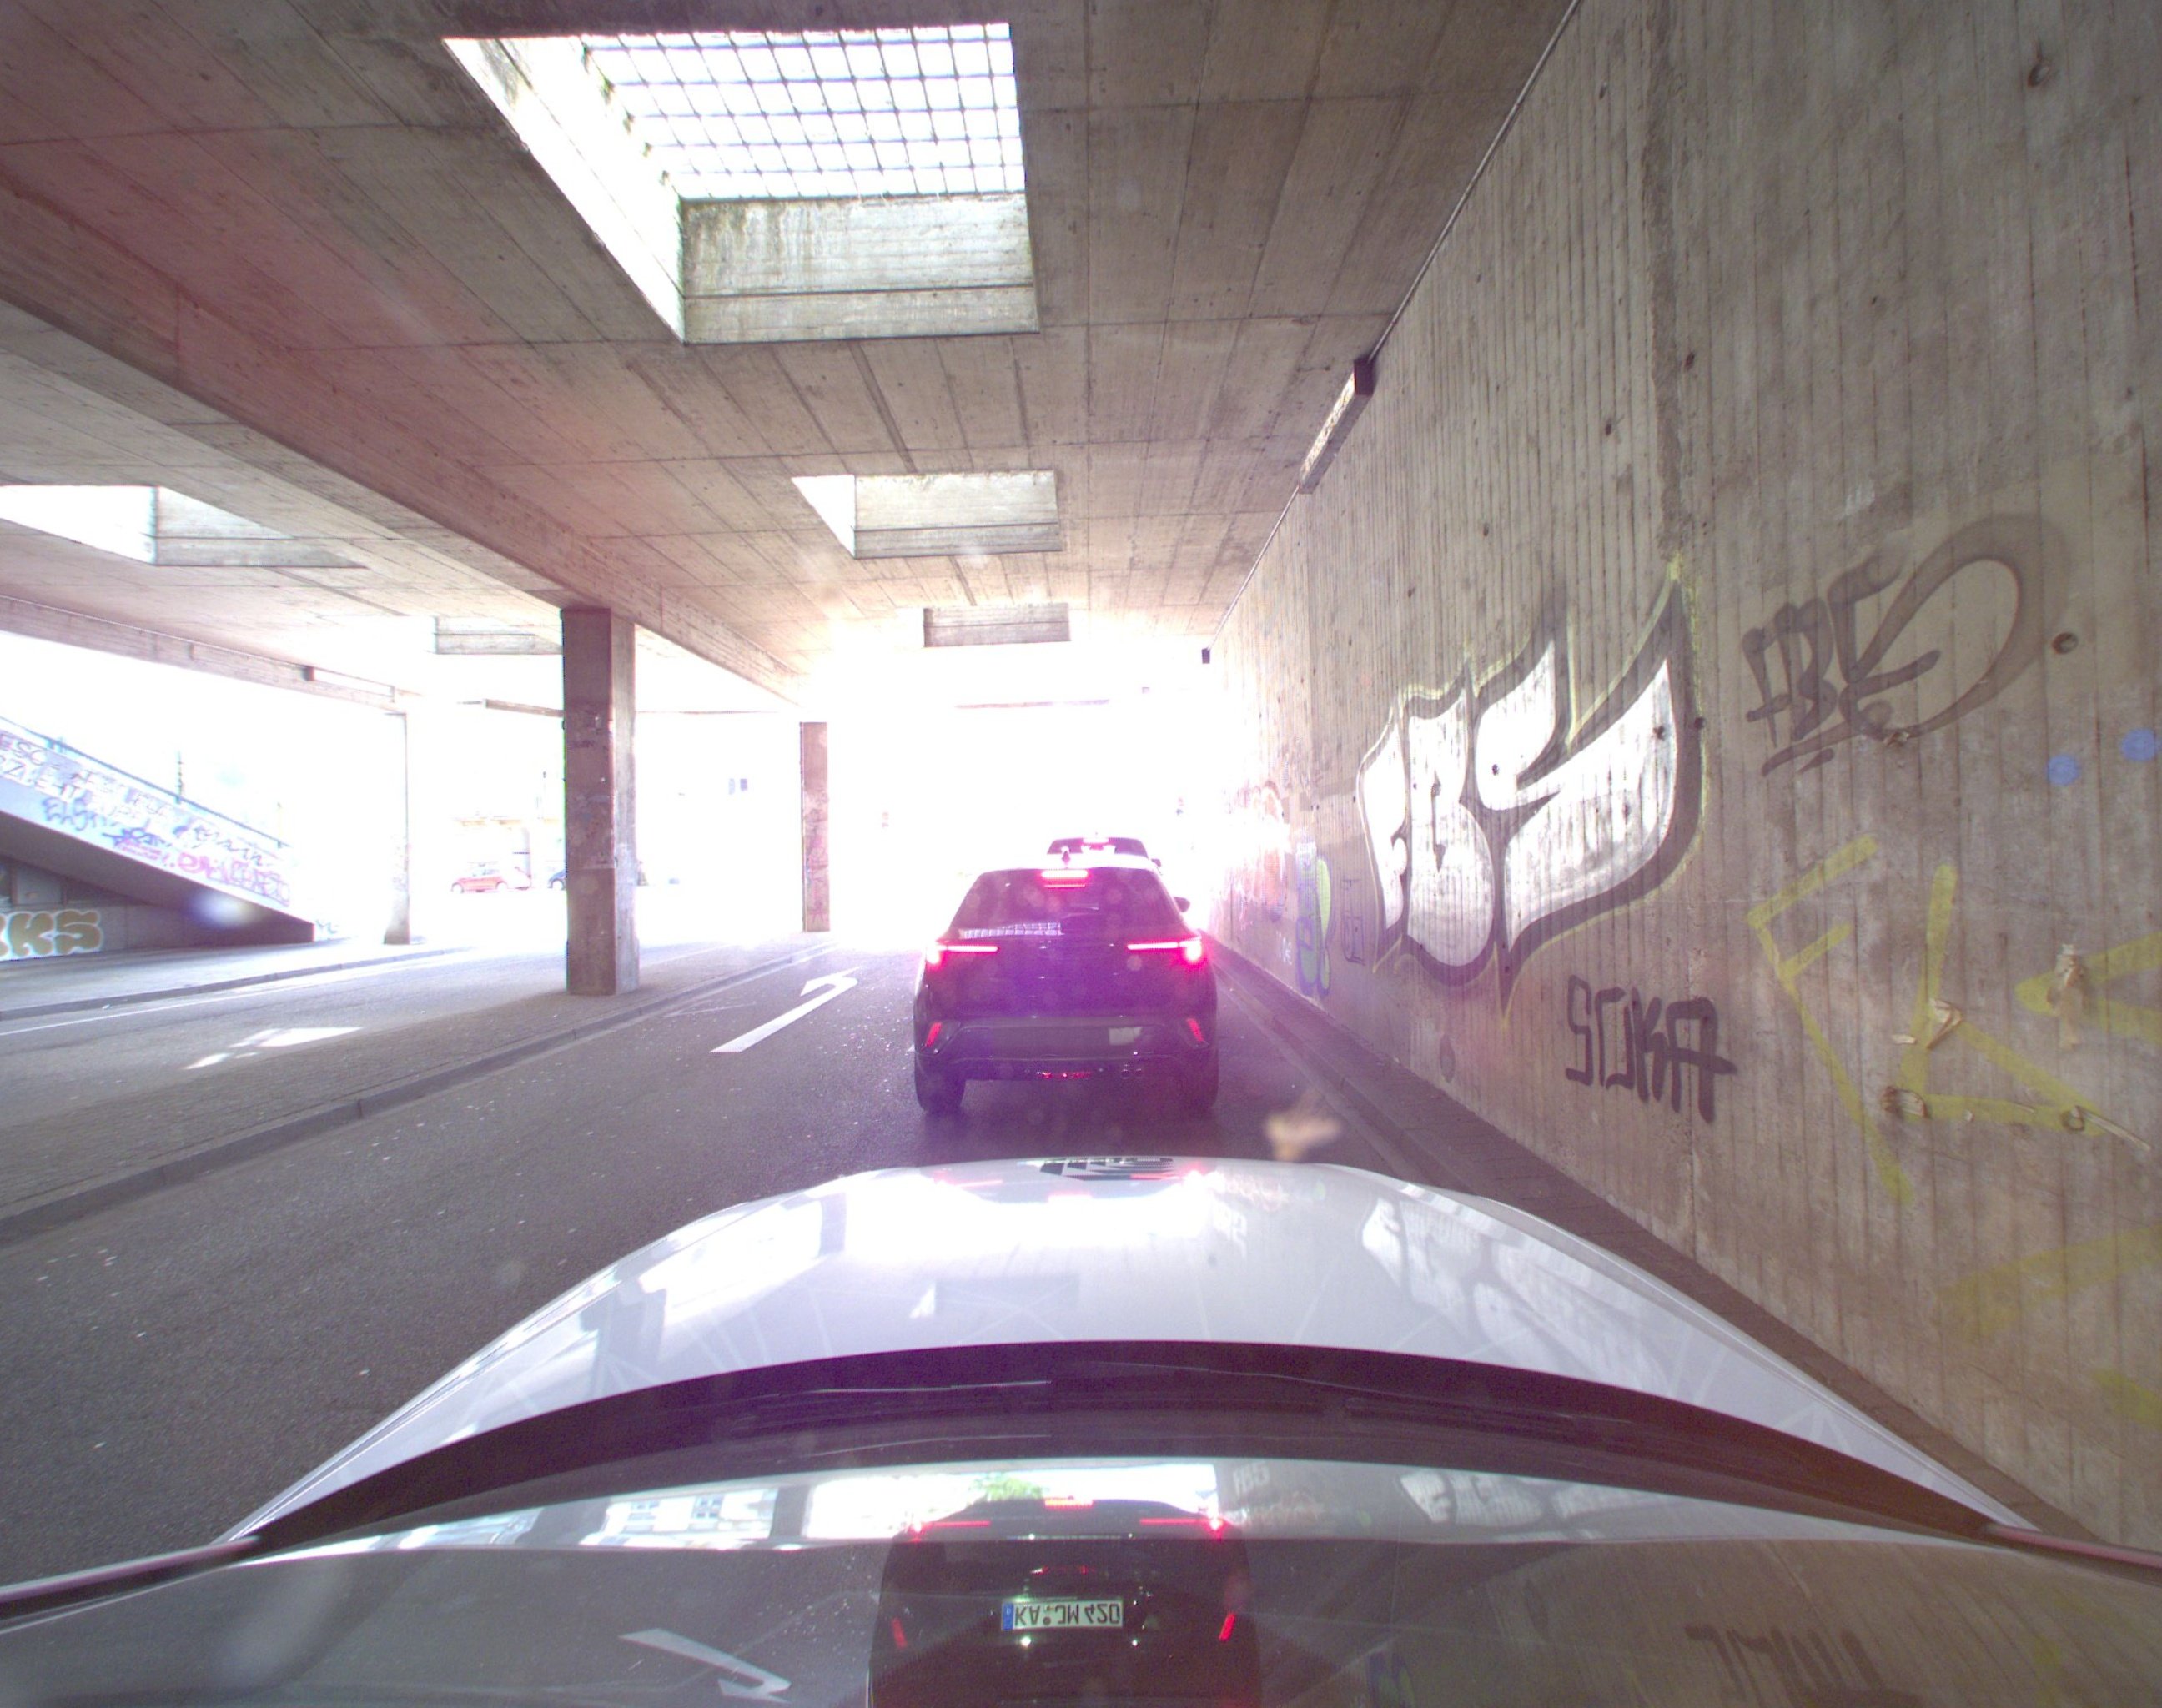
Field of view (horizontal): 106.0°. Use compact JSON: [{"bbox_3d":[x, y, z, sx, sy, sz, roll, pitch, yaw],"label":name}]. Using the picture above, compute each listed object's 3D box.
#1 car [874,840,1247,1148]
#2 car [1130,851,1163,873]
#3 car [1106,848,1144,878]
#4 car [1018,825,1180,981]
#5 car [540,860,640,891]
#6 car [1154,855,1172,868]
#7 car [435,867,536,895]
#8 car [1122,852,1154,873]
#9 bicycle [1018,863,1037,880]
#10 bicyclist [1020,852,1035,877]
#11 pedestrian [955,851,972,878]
[{"bbox_3d":[-0.045,0.720,6.179,1.875,1.538,3.966,-2,0,2],"label":"car"},{"bbox_3d":[5.585,0.692,69.029,2.206,1.719,4.474,-2,-2,12],"label":"car"},{"bbox_3d":[2.407,0.508,44.258,1.959,1.497,3.900,-2,-2,4],"label":"car"},{"bbox_3d":[0.287,0.602,12.000,1.938,1.860,3.966,-2,0,2],"label":"car"},{"bbox_3d":[-27.209,1.188,45.229,4.114,1.550,2.268,-2,0,1],"label":"car"},{"bbox_3d":[10.572,0.974,104.598,1.981,1.662,4.012,-1,-1,11],"label":"car"},{"bbox_3d":[-33.013,1.478,45.228,3.970,1.374,2.192,-2,0,3],"label":"car"},{"bbox_3d":[4.404,0.648,62.243,1.955,1.497,3.908,-2,-2,11],"label":"car"},{"bbox_3d":[-3.390,1.111,51.735,0.727,1.067,1.694,-1,-1,11],"label":"bicycle"},{"bbox_3d":[-3.380,0.653,51.770,0.724,1.581,0.817,-1,-1,11],"label":"bicyclist"},{"bbox_3d":[-9.247,0.819,64.216,0.986,2.013,1.091,-2,0,10],"label":"pedestrian"}]
